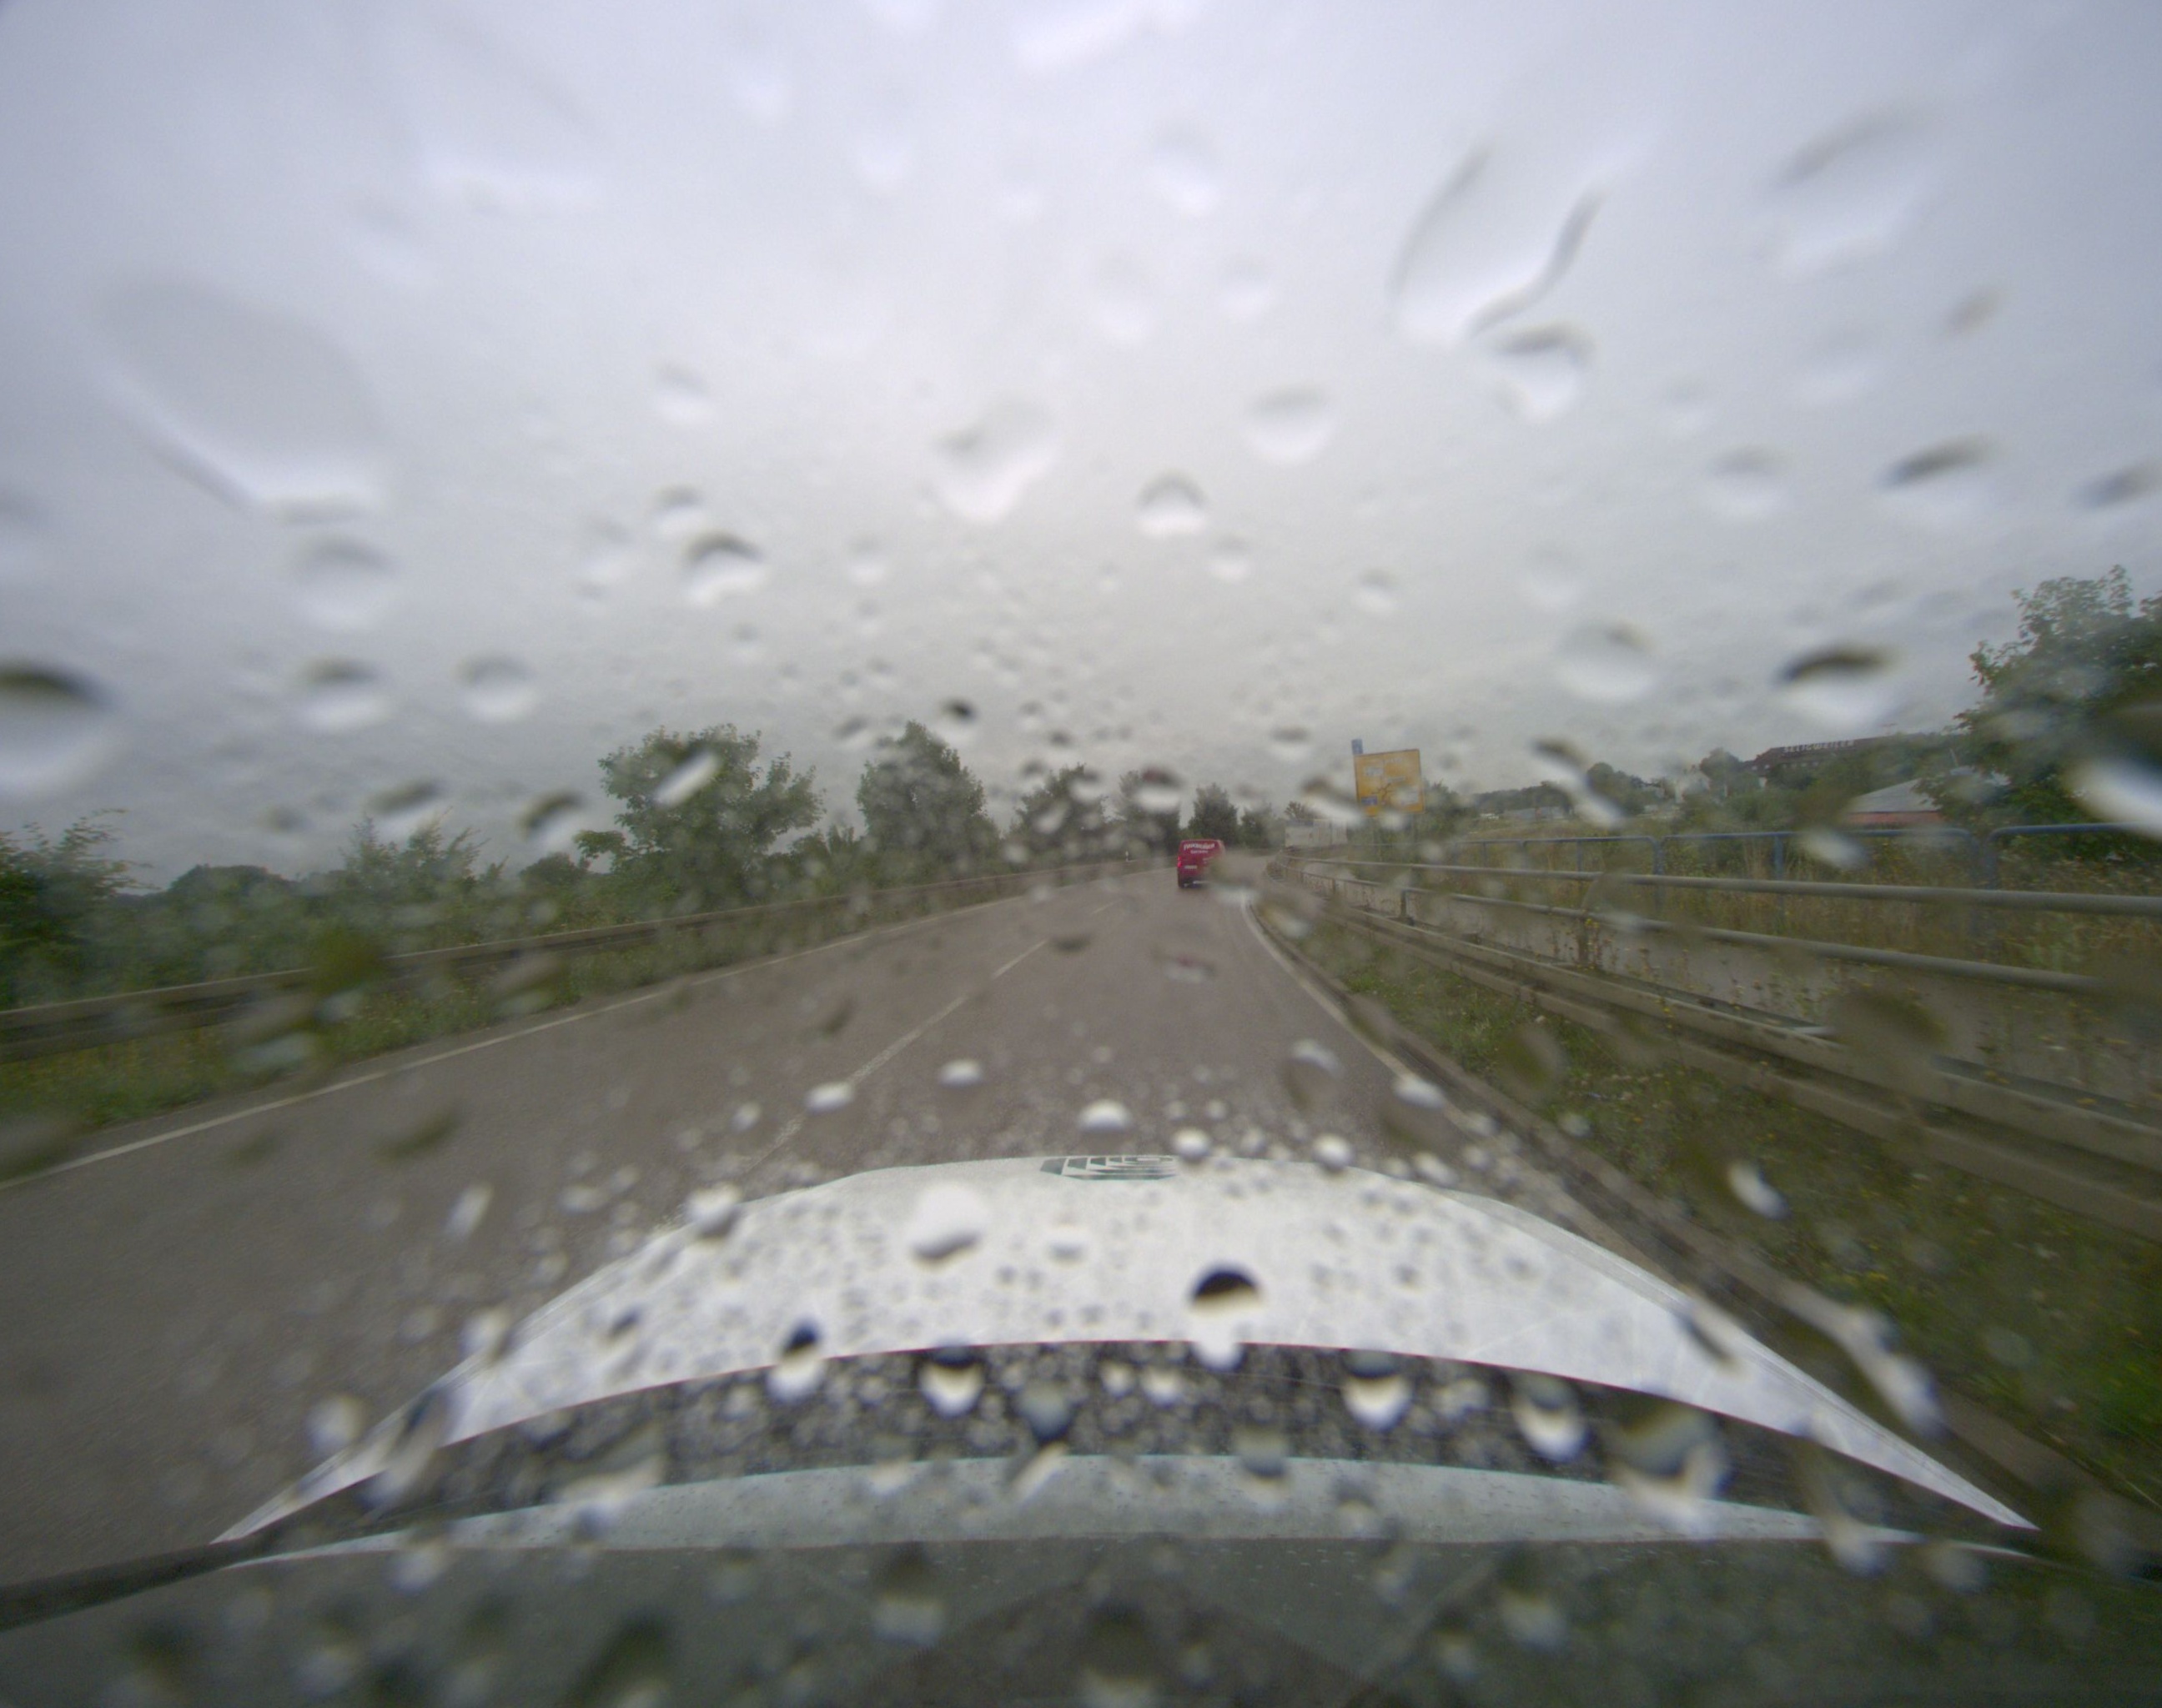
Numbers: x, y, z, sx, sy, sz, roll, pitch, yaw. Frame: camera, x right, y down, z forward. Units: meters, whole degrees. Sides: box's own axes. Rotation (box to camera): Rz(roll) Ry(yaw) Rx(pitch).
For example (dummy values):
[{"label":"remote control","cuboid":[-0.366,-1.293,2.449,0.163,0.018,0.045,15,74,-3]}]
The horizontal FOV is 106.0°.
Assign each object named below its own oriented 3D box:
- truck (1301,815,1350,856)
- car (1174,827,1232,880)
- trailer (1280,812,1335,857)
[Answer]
[{"label":"truck","cuboid":[25.126,-1.855,83.351,3.171,3.922,8.792,-1,0,27]},{"label":"car","cuboid":[5.116,-0.049,33.746,1.980,1.925,4.158,-4,0,12]},{"label":"trailer","cuboid":[21.108,-1.719,75.509,3.171,3.922,8.792,-1,0,27]}]
